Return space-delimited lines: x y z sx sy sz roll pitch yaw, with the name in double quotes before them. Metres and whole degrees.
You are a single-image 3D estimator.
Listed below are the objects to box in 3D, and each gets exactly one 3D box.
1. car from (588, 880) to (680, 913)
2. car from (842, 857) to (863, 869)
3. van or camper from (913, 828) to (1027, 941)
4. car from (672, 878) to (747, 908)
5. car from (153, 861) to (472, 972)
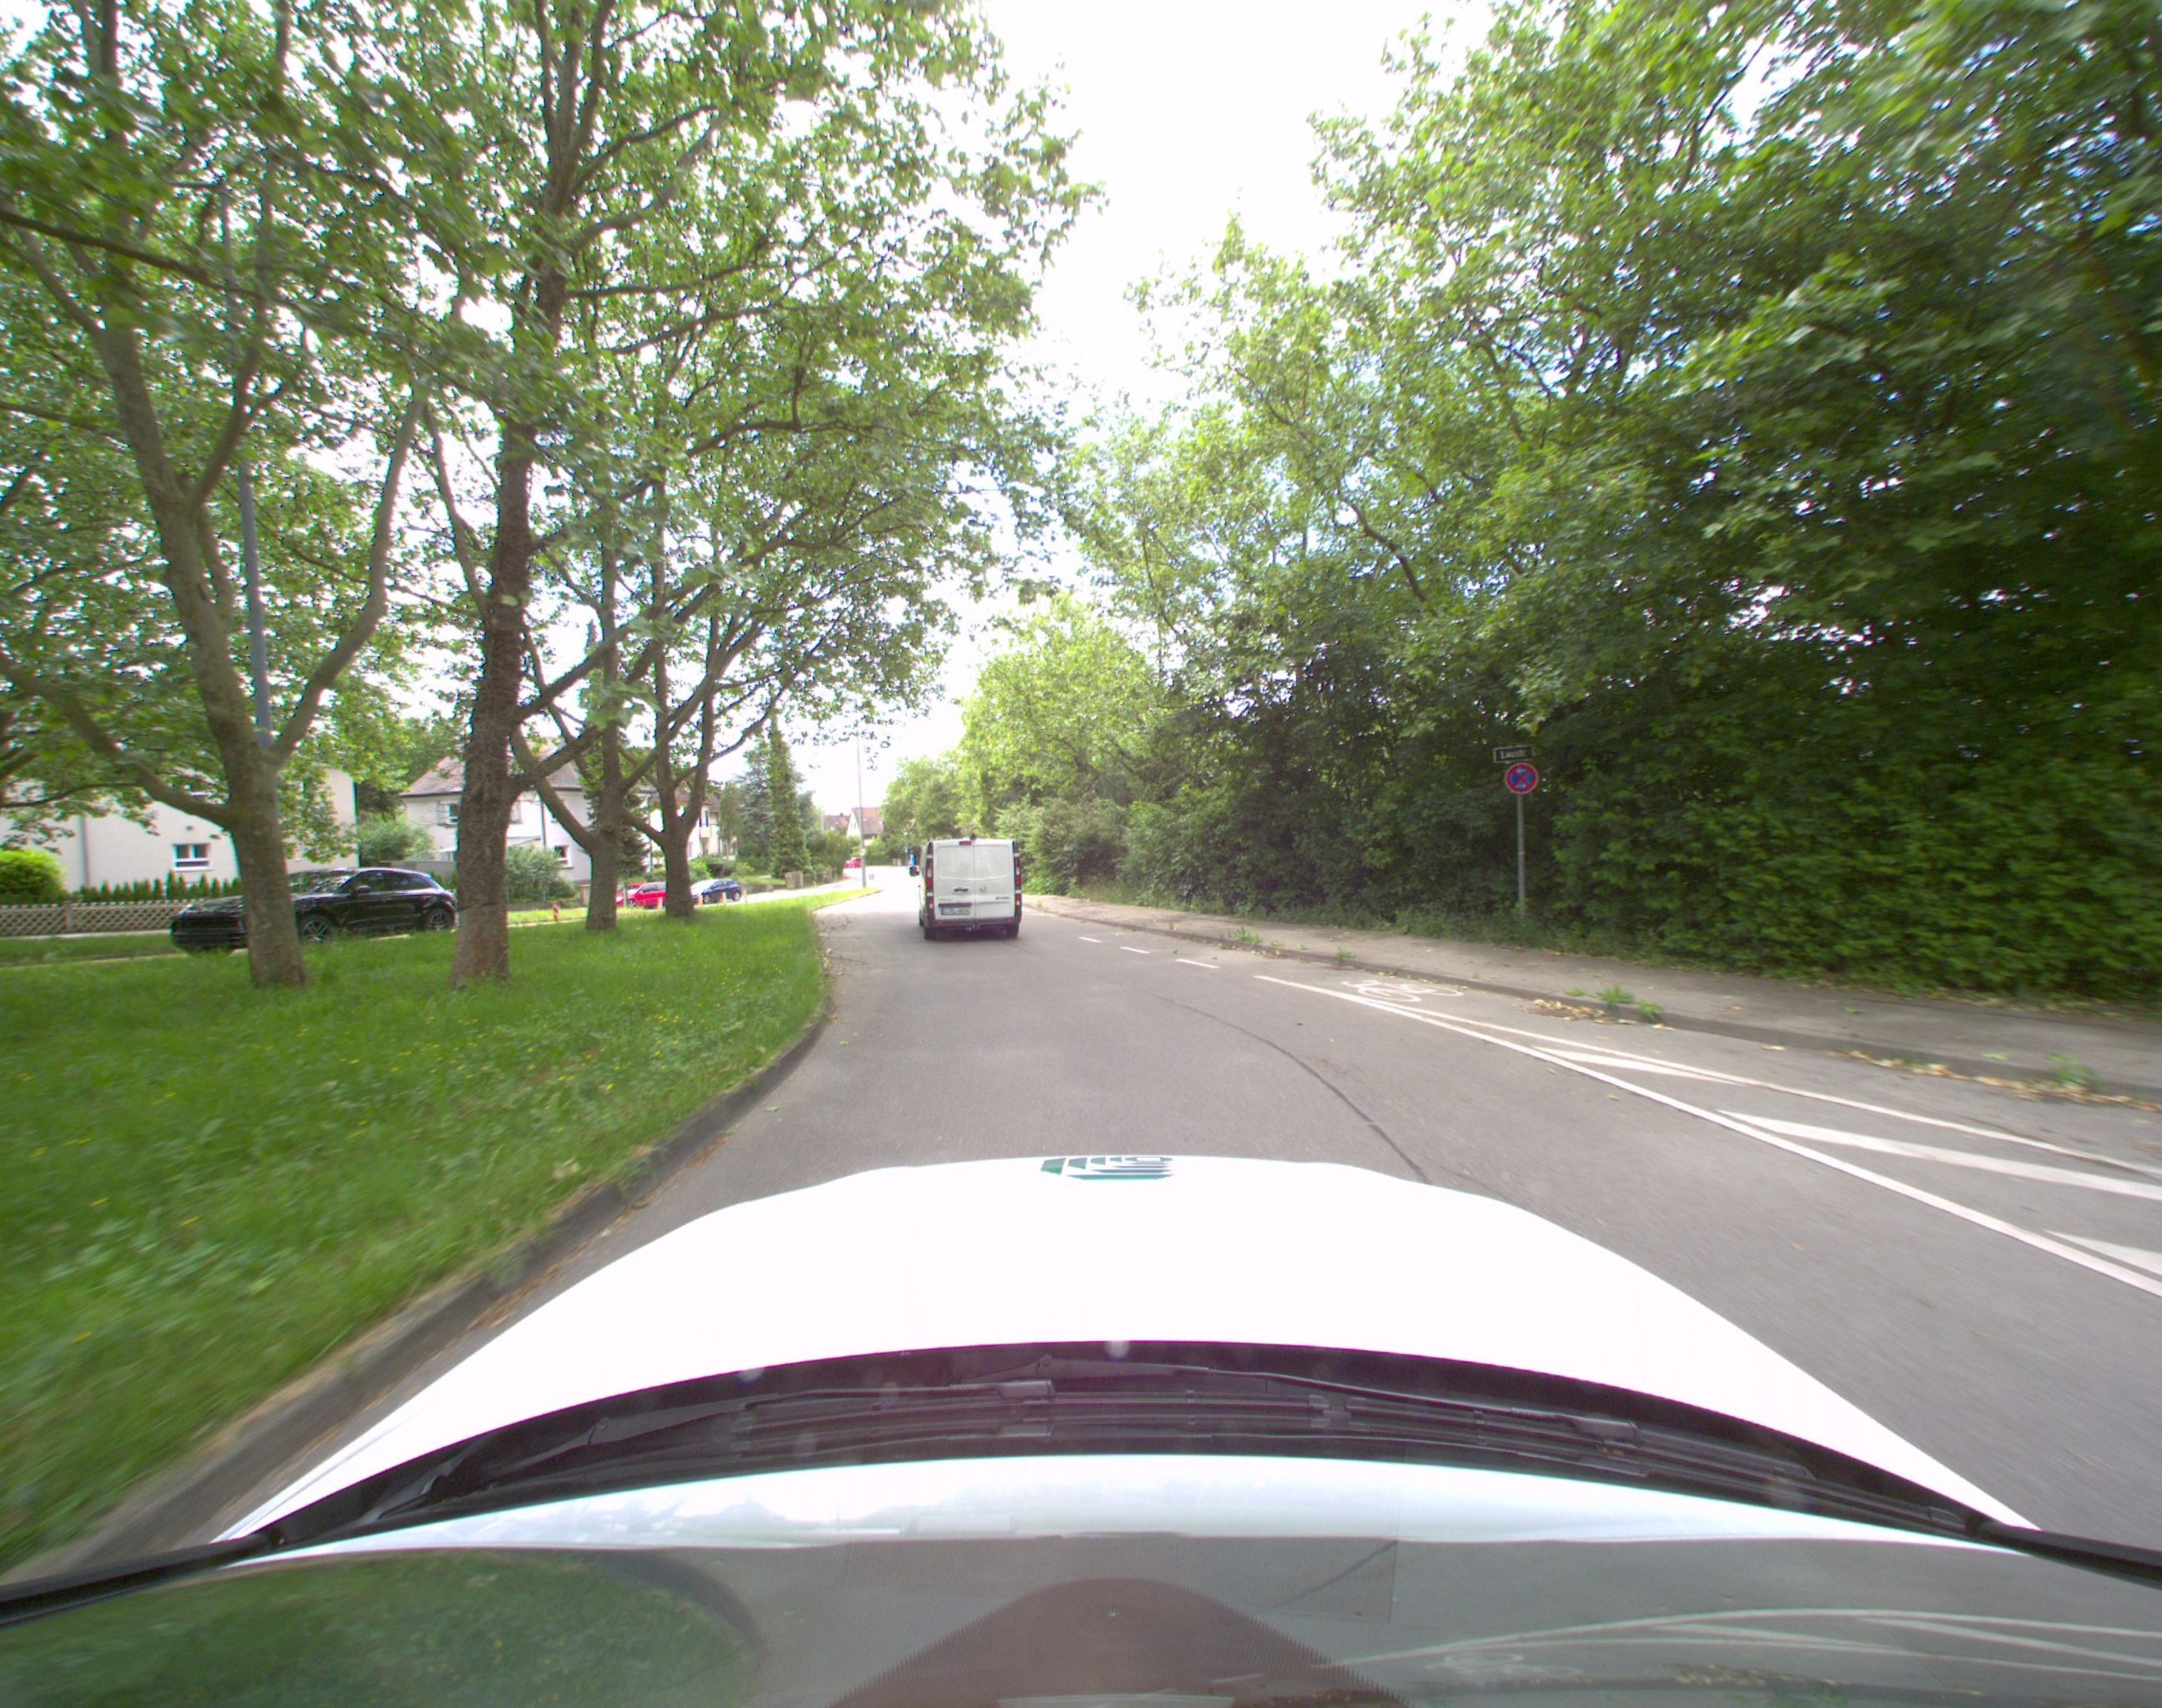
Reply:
"car" -24.300 2.282 44.421 1.712 1.474 4.300 -2 0 20
"car" -38.284 1.493 136.573 1.774 1.797 4.895 -3 1 -35
"van or camper" -2.518 0.487 17.434 1.926 2.013 4.808 -2 2 -13
"car" -22.302 2.324 49.052 1.714 1.474 4.332 -2 0 15
"car" -14.345 1.048 15.686 1.752 1.591 4.611 -2 2 -1
